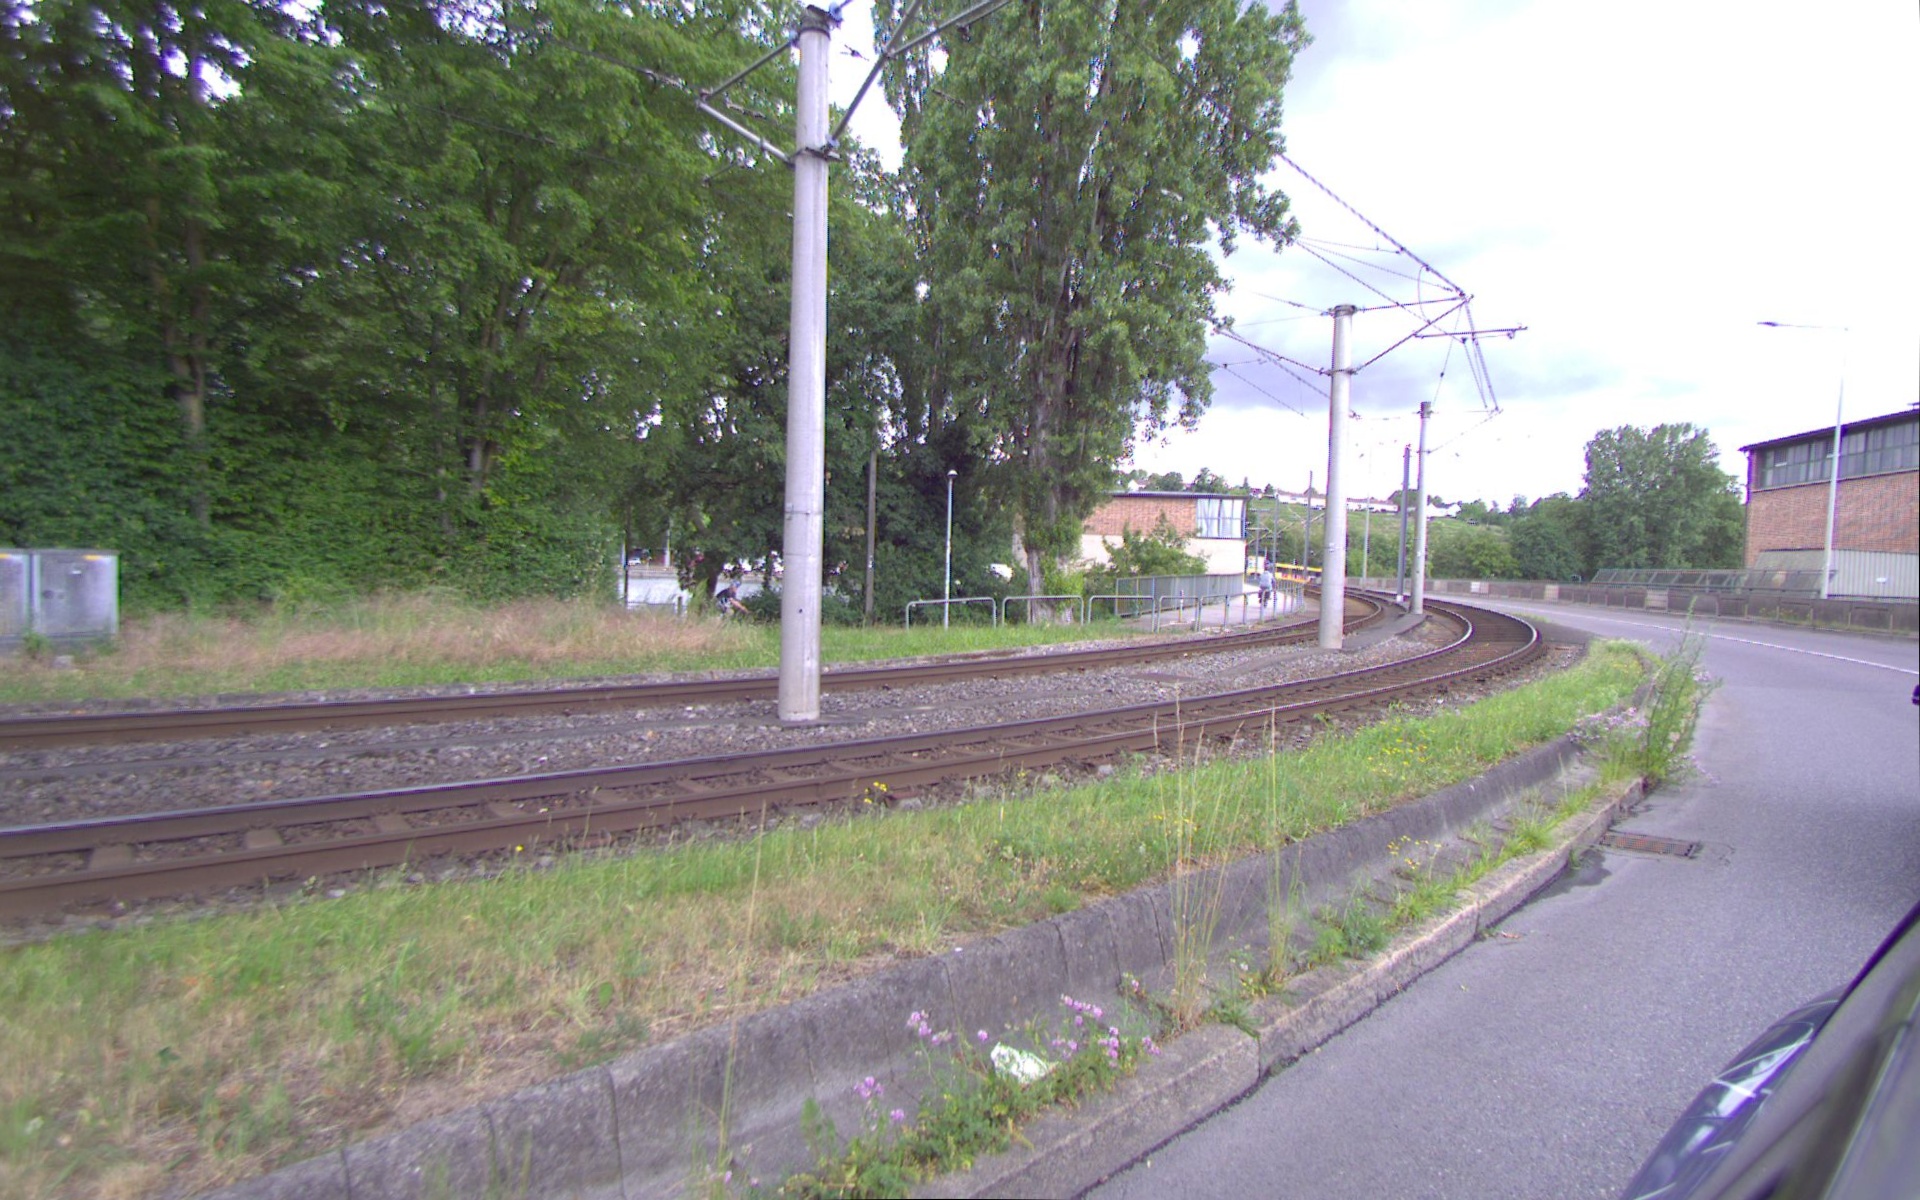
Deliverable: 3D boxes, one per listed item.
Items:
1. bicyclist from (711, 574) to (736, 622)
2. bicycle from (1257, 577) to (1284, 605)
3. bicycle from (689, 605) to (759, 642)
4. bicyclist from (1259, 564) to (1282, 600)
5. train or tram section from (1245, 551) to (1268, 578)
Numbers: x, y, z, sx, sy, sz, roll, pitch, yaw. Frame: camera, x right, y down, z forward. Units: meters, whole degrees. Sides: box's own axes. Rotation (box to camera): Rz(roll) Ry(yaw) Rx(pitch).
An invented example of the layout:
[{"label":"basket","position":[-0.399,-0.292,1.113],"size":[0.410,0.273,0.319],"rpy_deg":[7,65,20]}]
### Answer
[{"label":"bicyclist","position":[-5.433,-0.050,23.249],"size":[0.465,1.097,0.418],"rpy_deg":[1,1,-3]},{"label":"bicycle","position":[11.876,-0.352,38.694],"size":[0.424,1.063,2.055],"rpy_deg":[1,1,33]},{"label":"bicycle","position":[-5.423,0.541,23.263],"size":[1.517,0.804,0.348],"rpy_deg":[2,1,-2]},{"label":"bicyclist","position":[11.874,-0.696,38.688],"size":[0.591,1.377,0.900],"rpy_deg":[1,1,33]},{"label":"train or tram section","position":[46.566,-5.613,158.968],"size":[2.989,3.966,9.403],"rpy_deg":[2,3,15]}]
